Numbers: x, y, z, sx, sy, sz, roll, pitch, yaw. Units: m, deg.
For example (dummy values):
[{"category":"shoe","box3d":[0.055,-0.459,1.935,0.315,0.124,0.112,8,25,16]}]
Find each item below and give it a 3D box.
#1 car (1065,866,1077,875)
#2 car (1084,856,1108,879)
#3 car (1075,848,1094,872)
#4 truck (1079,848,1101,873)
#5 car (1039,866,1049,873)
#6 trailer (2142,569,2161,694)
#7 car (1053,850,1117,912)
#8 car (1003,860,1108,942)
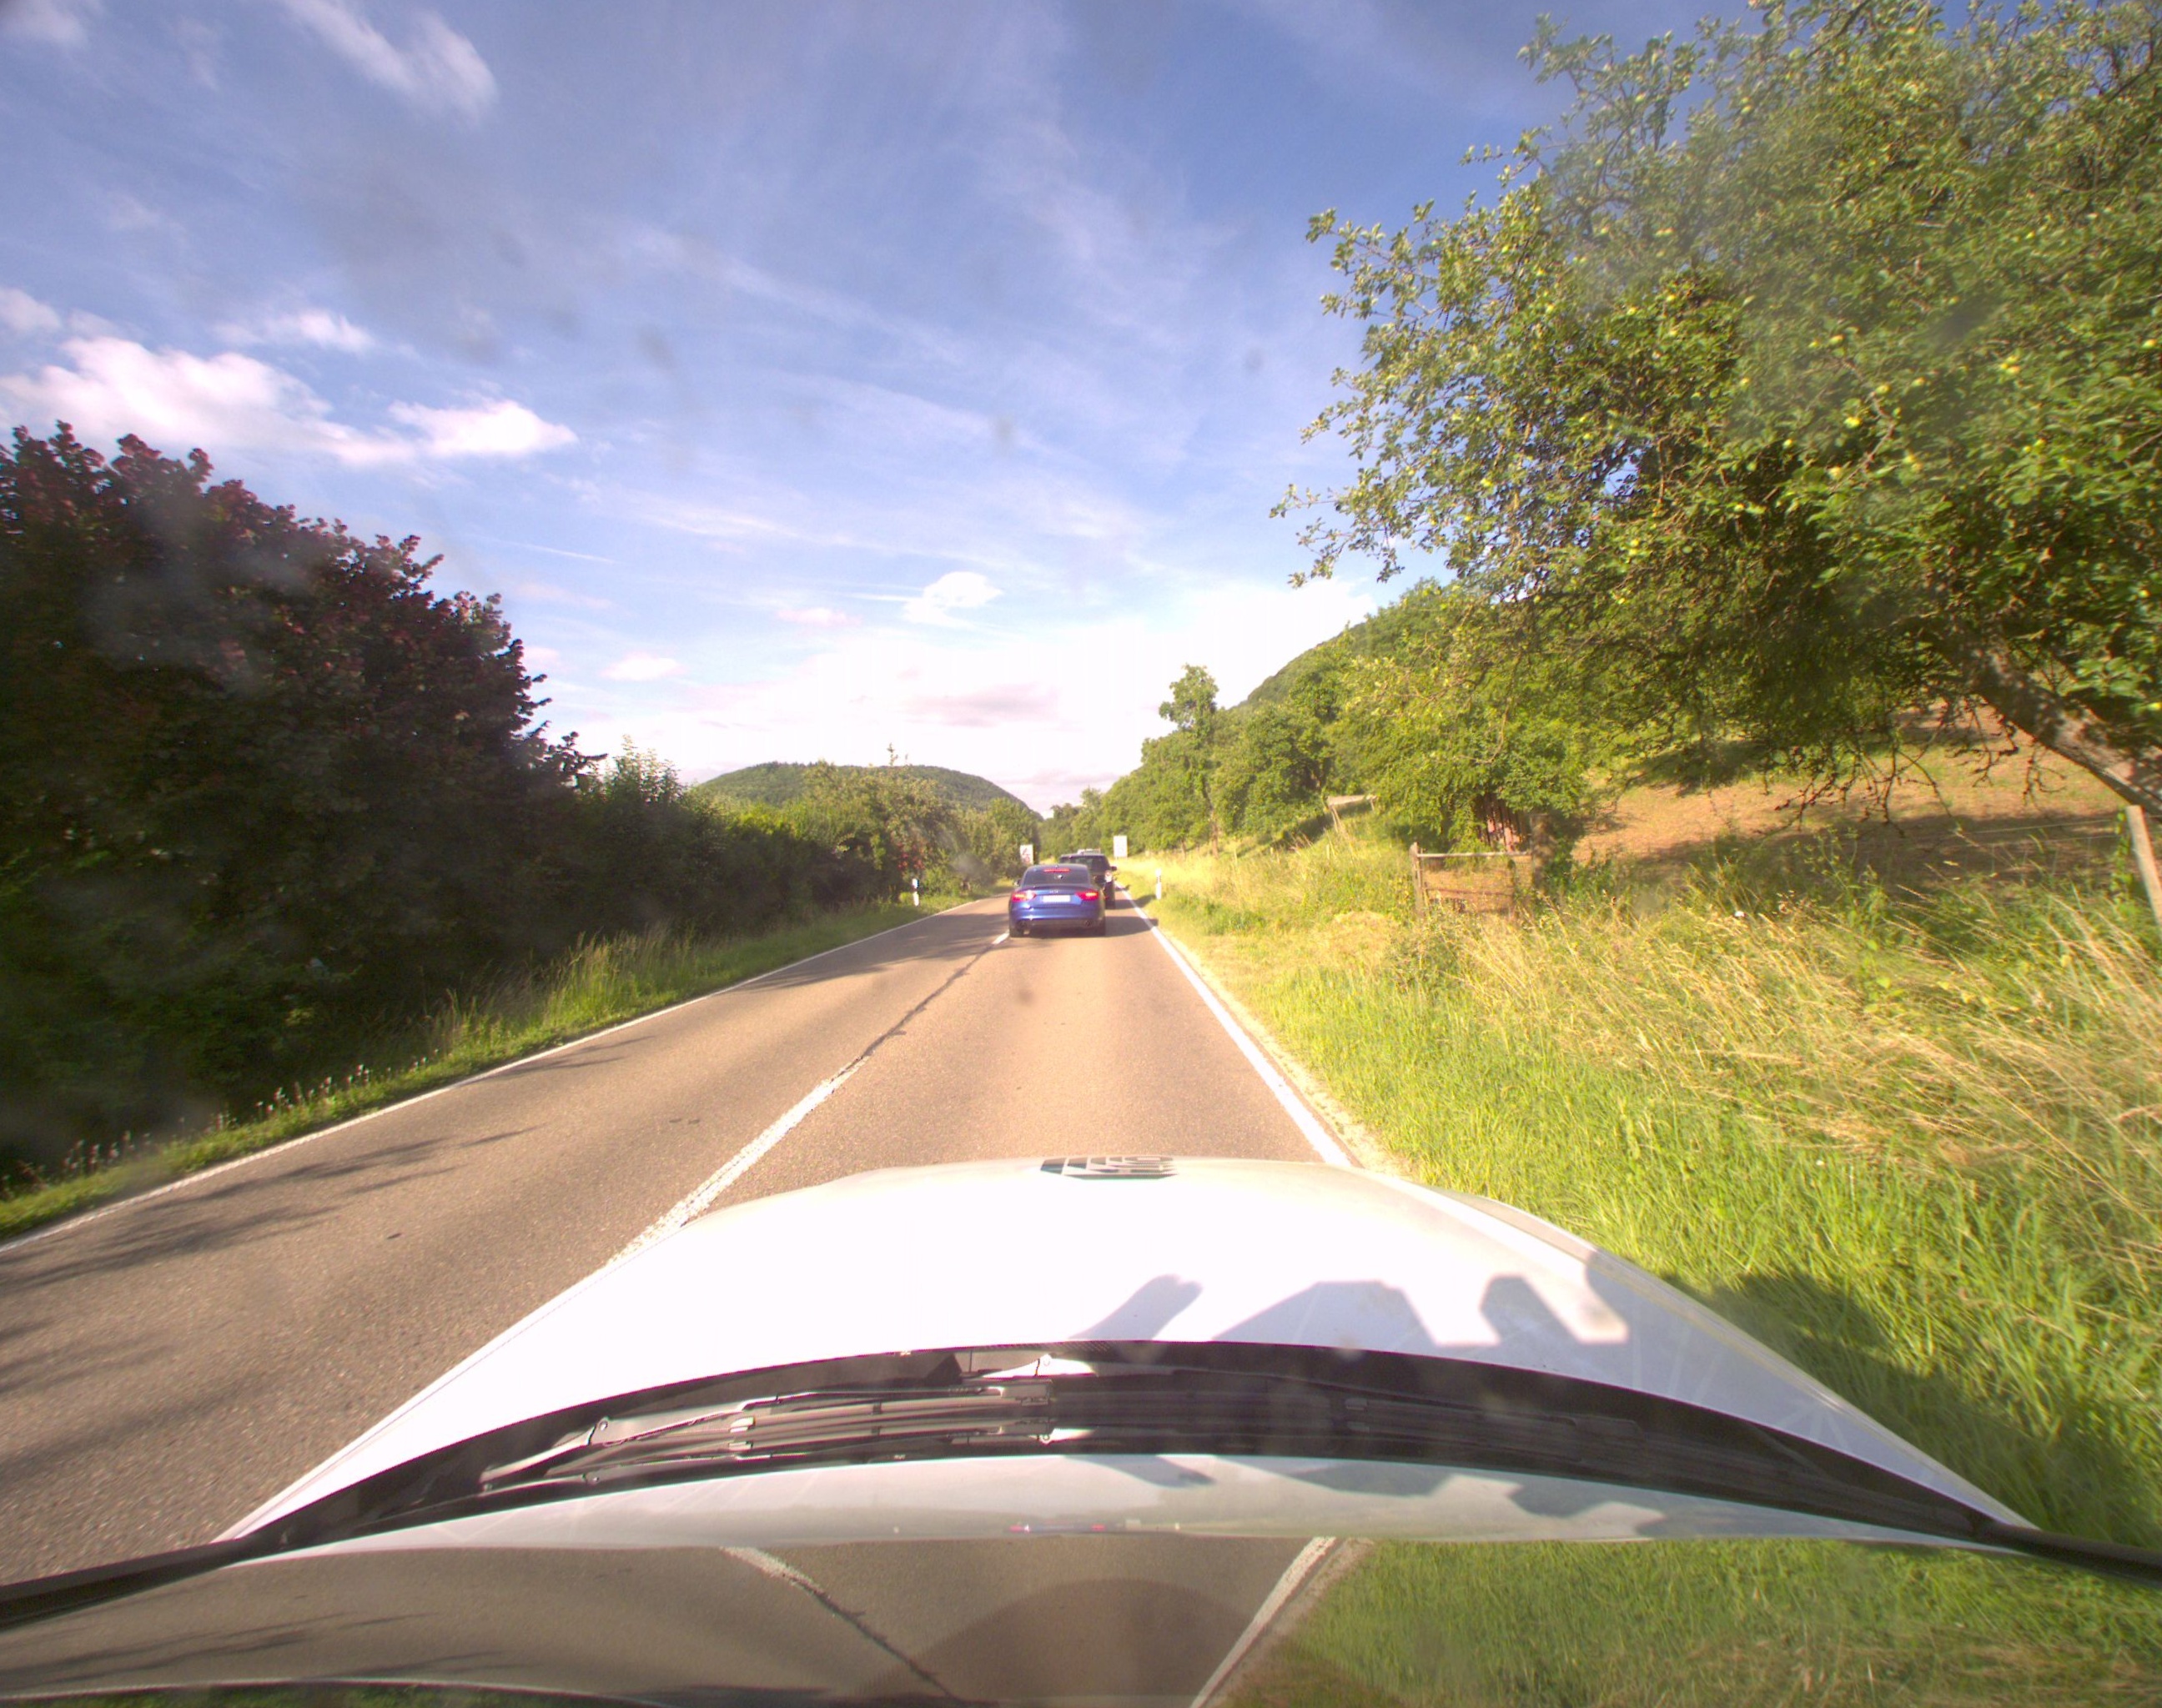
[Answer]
[{"category":"car","box3d":[-1.654,2.770,137.724,1.558,1.496,3.768,0,0,-8]},{"category":"car","box3d":[1.072,0.954,60.589,1.687,1.624,3.789,-1,0,0]},{"category":"car","box3d":[0.355,0.653,87.794,1.787,2.453,3.916,0,0,-2]},{"category":"truck","box3d":[0.832,0.610,77.298,1.944,2.345,5.093,0,0,0]},{"category":"car","box3d":[-7.673,3.236,170.599,1.560,1.496,3.763,0,0,-12]},{"category":"trailer","box3d":[23.806,-4.645,14.788,2.147,2.557,5.243,-4,3,-3]},{"category":"car","box3d":[0.129,0.734,23.791,1.687,1.624,3.789,-1,0,0]},{"category":"car","box3d":[-0.409,0.845,16.404,1.799,1.382,4.215,-2,-1,1]}]
